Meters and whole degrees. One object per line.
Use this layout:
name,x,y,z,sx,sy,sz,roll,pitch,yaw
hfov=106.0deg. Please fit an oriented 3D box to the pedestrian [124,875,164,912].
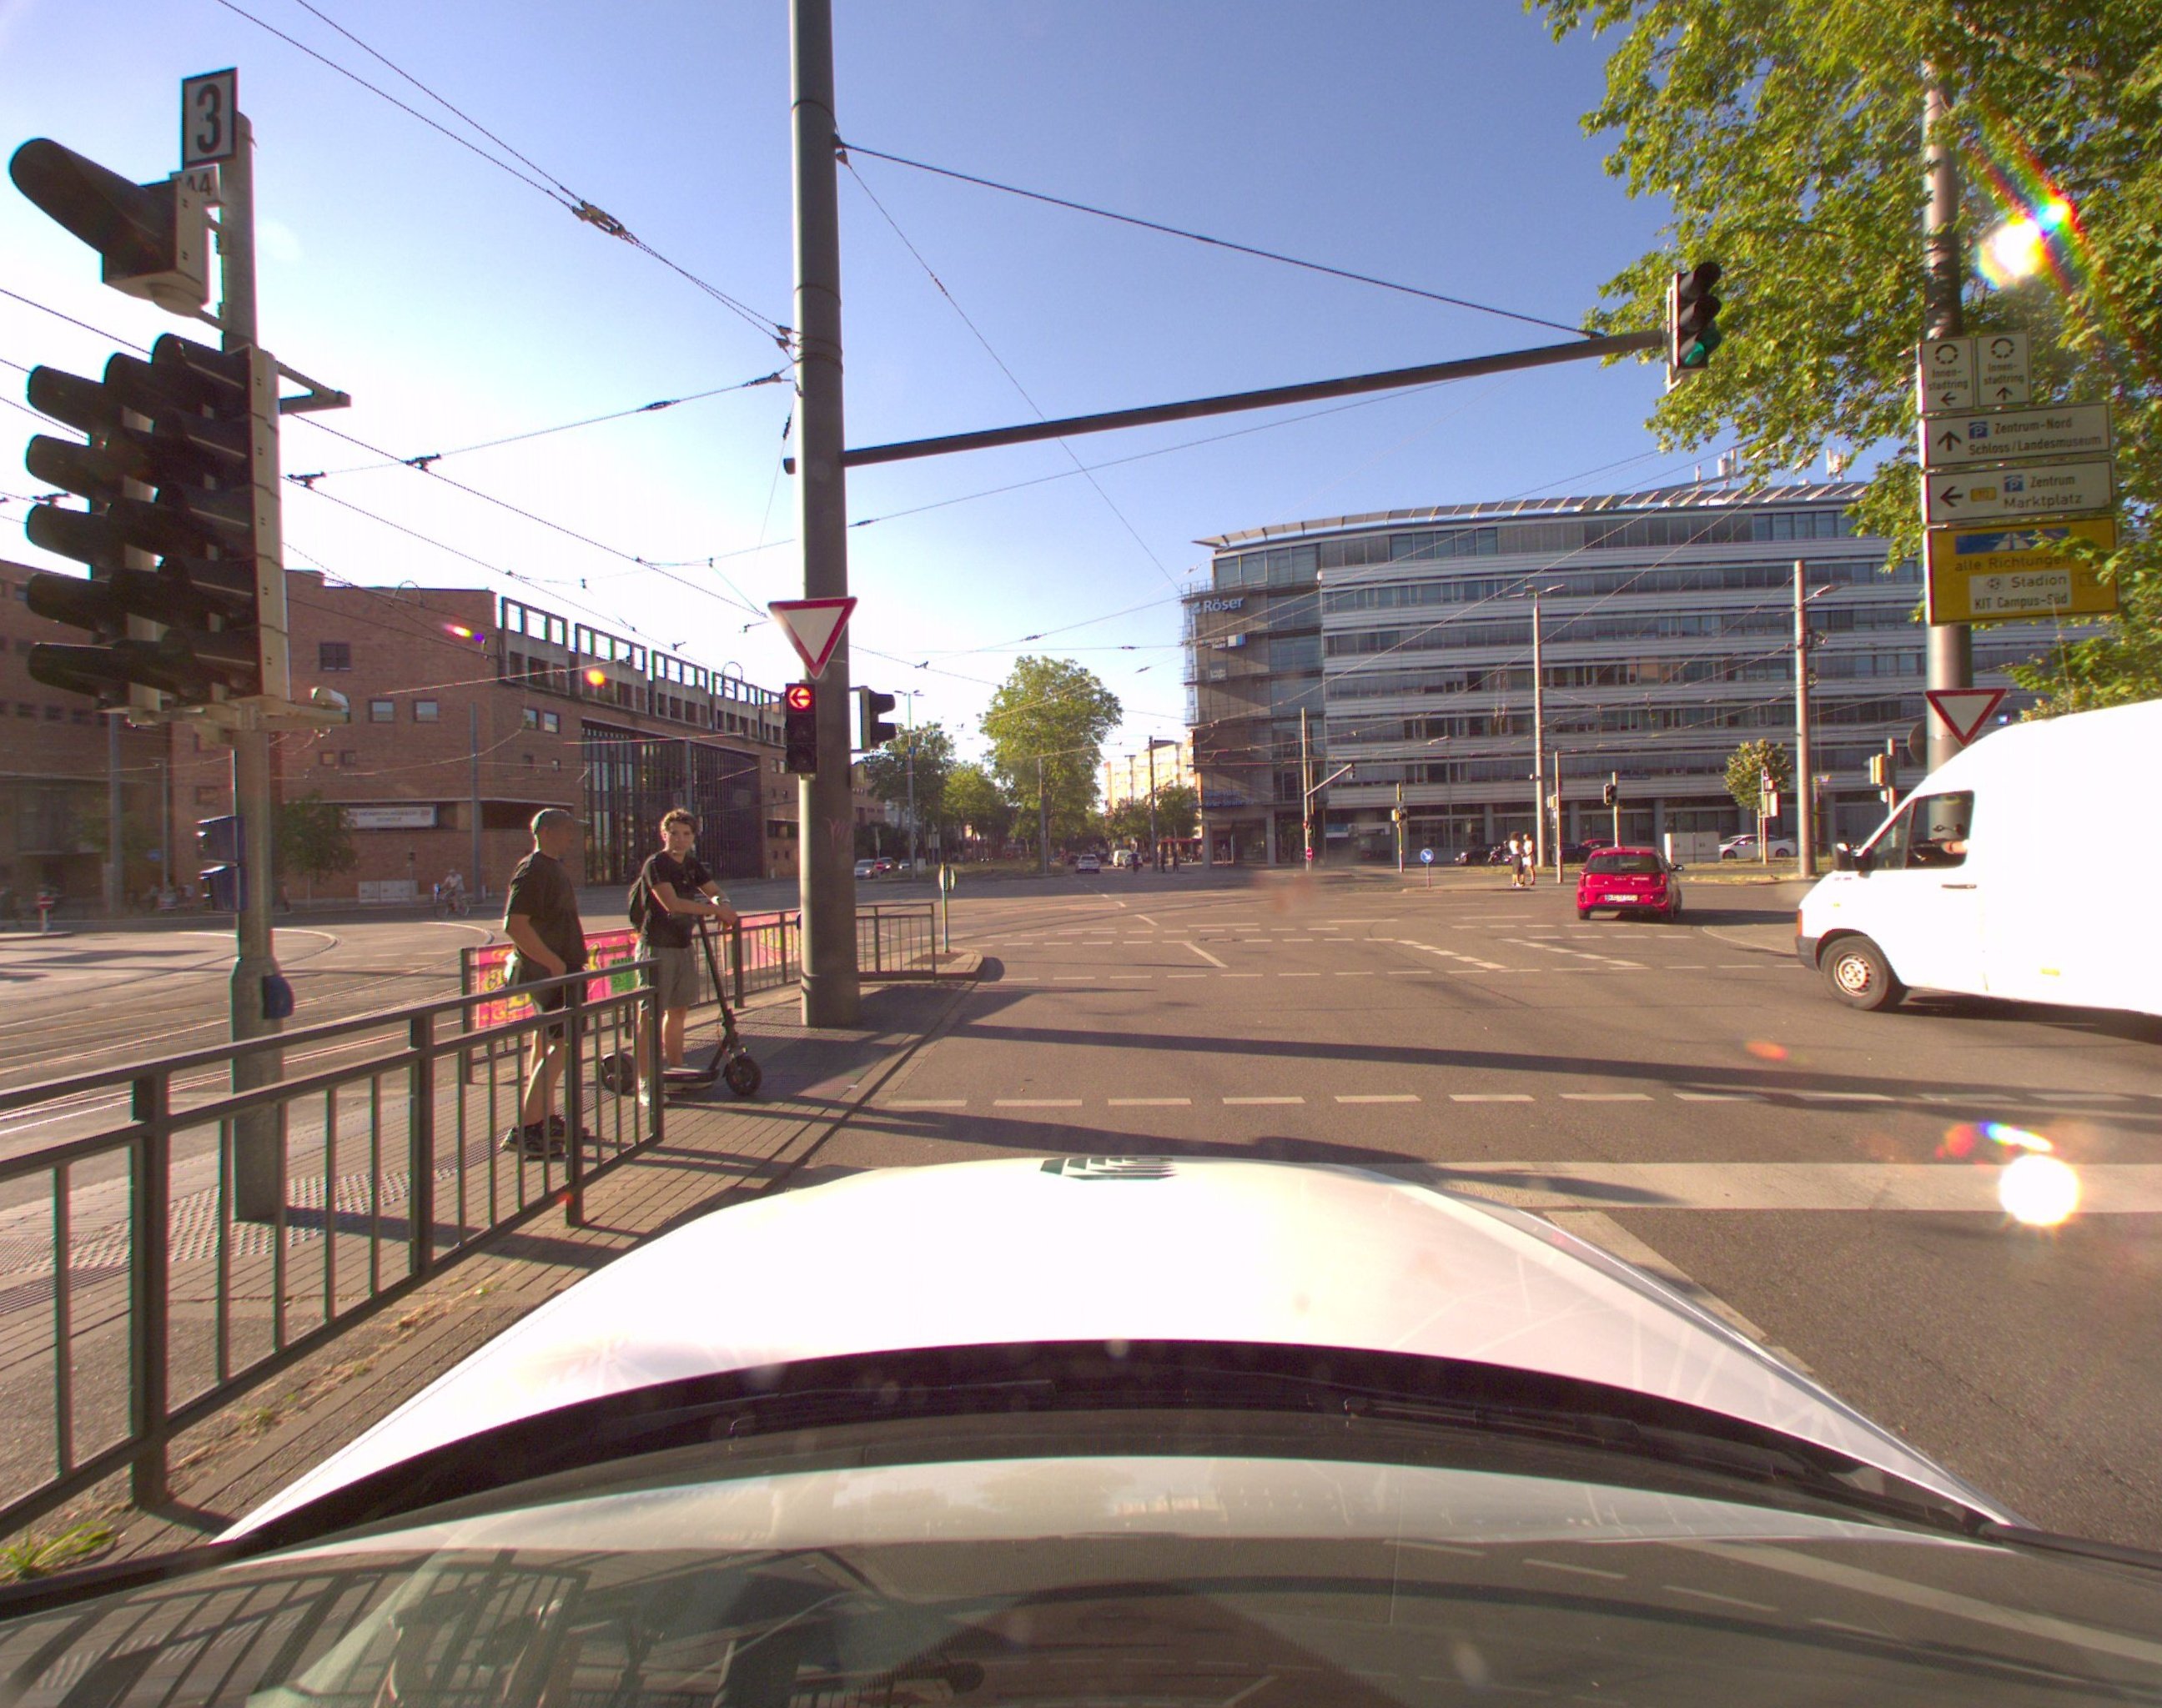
pedestrian,-53.869,2.260,46.836,1.155,2.013,0.910,-2,0,-2

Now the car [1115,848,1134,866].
car,4.753,0.339,89.714,1.986,2.014,4.001,0,-1,2

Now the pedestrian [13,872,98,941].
pedestrian,-30.984,1.567,24.629,1.029,2.014,1.208,0,-1,1

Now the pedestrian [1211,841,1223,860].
pedestrian,15.834,-0.345,94.941,1.305,2.190,1.173,0,-1,8

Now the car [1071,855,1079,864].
car,-1.568,1.515,225.508,1.985,2.015,4.000,0,-10,3

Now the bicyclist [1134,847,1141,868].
bicyclist,4.064,0.250,58.825,0.485,1.439,0.616,0,0,1

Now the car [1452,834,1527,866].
car,27.077,-0.261,54.109,3.972,2.014,2.001,0,-1,2

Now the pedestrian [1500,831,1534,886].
pedestrian,14.446,0.148,26.974,0.744,1.759,0.672,-2,0,-32

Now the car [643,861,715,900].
car,-19.823,1.259,40.360,1.865,1.762,3.992,0,0,-5

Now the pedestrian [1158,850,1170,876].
pedestrian,6.535,0.698,64.195,0.846,2.014,0.707,0,-1,0

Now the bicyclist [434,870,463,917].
bicyclist,-22.805,1.414,29.352,0.585,1.625,0.514,-2,0,-2

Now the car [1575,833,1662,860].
car,32.041,-0.453,48.612,3.966,1.552,1.800,0,0,6

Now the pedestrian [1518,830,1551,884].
pedestrian,15.276,0.103,27.425,0.735,1.759,0.687,-2,0,11

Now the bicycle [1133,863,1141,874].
bicycle,4.078,1.037,58.933,0.489,0.788,1.862,-1,0,2

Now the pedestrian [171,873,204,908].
pedestrian,-54.630,2.200,49.797,1.003,2.052,0.850,-2,0,-1

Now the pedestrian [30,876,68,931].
pedestrian,-38.651,1.848,30.504,0.615,2.013,0.726,-2,0,-28

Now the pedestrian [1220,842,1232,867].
pedestrian,12.062,0.052,67.909,0.866,2.014,0.794,0,-2,1

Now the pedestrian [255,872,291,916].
pedestrian,-35.653,1.748,35.947,0.721,1.902,0.875,0,-1,-1

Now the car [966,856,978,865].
car,-25.181,1.486,187.975,1.903,1.783,4.002,-2,0,2

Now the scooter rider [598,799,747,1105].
scooter rider,-2.643,0.608,5.321,0.563,1.853,0.681,-2,-2,6

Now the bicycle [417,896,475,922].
bicycle,-22.787,1.959,29.273,0.588,0.771,1.966,-2,0,-2

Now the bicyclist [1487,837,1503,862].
bicyclist,24.965,-0.278,49.090,0.660,1.503,0.614,-2,0,7

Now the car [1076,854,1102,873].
car,0.673,0.712,63.212,1.740,1.418,4.004,-1,0,4

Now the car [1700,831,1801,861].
car,37.135,-0.427,45.278,3.968,1.596,1.884,0,-1,5

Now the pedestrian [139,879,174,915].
pedestrian,-54.637,2.529,48.138,1.003,2.052,0.850,-2,0,-1

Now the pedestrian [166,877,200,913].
pedestrian,-53.220,2.432,48.255,1.003,2.052,0.850,-2,0,-1

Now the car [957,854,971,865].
car,-23.709,1.119,165.578,1.867,2.013,4.477,-2,0,4

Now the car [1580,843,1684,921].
car,11.600,0.509,17.062,1.476,1.459,3.620,-1,0,39

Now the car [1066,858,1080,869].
car,-1.127,1.339,111.108,1.759,1.404,4.293,-1,0,-2

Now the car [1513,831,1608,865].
car,27.229,-0.354,46.352,4.234,1.723,1.886,-2,0,4

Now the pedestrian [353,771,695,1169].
pedestrian,-2.898,0.570,4.347,1.161,1.884,0.856,-2,0,6

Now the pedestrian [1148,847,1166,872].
pedestrian,6.190,0.447,66.096,1.337,1.950,1.011,-2,-1,1

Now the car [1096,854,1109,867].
car,3.348,0.971,126.818,1.986,2.014,4.001,0,-1,2

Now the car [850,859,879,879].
car,-18.012,1.218,67.889,1.618,1.577,3.994,-2,0,-4

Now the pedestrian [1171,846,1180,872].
pedestrian,7.267,0.376,62.675,0.584,2.014,0.620,0,-1,2

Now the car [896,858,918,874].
car,-18.556,1.294,86.876,1.673,1.607,3.994,0,-1,-4

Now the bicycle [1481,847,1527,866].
bicycle,25.474,0.138,49.050,2.397,1.022,0.638,-2,0,6

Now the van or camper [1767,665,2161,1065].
van or camper,8.064,0.046,5.126,1.993,2.614,6.498,-2,0,0

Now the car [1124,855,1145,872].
car,5.430,0.965,82.842,2.022,1.596,4.001,0,-1,2

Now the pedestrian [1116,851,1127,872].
pedestrian,3.391,0.618,68.231,0.866,1.707,0.794,0,-1,1

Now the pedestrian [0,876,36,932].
pedestrian,-39.256,1.830,30.030,0.615,2.013,0.726,-2,0,-28

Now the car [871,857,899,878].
car,-18.057,1.231,75.286,1.819,1.790,3.994,-2,0,-4

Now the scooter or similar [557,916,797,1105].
scooter or similar,-2.596,0.989,5.309,1.196,1.081,0.649,-2,0,5
